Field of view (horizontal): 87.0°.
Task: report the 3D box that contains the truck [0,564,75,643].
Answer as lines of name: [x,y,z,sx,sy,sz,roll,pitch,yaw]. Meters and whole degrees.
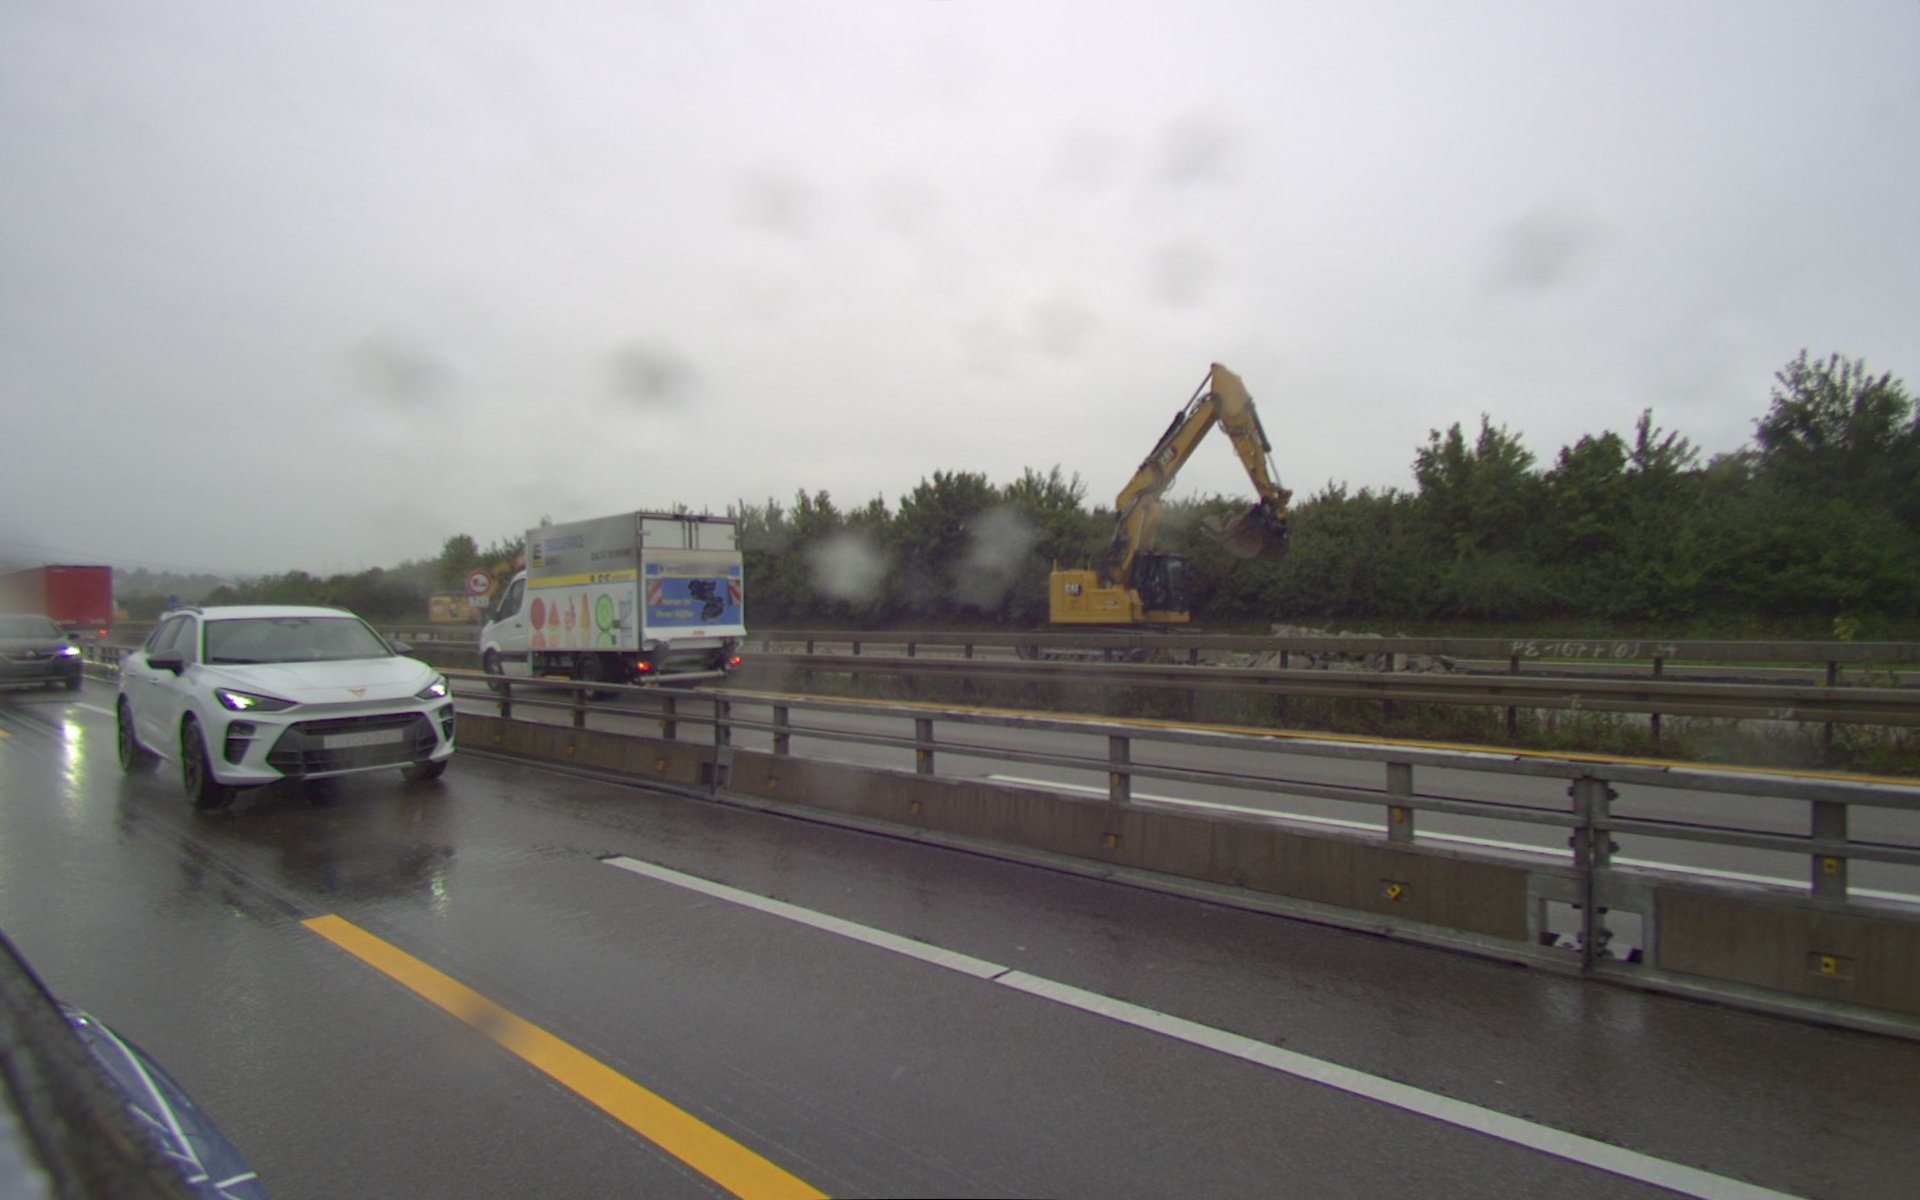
truck: [-53.595,0.268,58.197,6.795,4.304,2.977,-1,-2,40]

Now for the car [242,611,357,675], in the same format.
car: [-19.232,1.184,29.386,4.541,1.681,1.619,-1,1,41]

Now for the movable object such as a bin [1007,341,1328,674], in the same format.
movable object such as a bin: [5.724,-2.272,29.075,8.307,8.204,3.558,-1,0,42]

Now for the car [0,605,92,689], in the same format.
car: [-20.423,0.952,21.752,5.194,1.640,2.042,-1,-1,42]

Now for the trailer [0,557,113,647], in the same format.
trailer: [-47.857,0.193,53.376,11.050,4.327,2.946,-1,-2,40]

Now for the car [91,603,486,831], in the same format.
car: [-6.442,0.840,9.415,5.006,1.562,1.907,-1,0,42]

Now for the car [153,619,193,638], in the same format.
car: [-82.218,2.968,105.710,5.356,1.981,2.074,-1,-1,37]

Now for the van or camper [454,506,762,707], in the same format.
van or camper: [-6.636,0.098,18.505,6.696,3.064,2.270,-1,1,41]

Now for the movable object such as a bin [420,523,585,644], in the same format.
movable object such as a bin: [-25.125,-0.835,55.166,11.043,5.959,4.126,-1,1,42]
